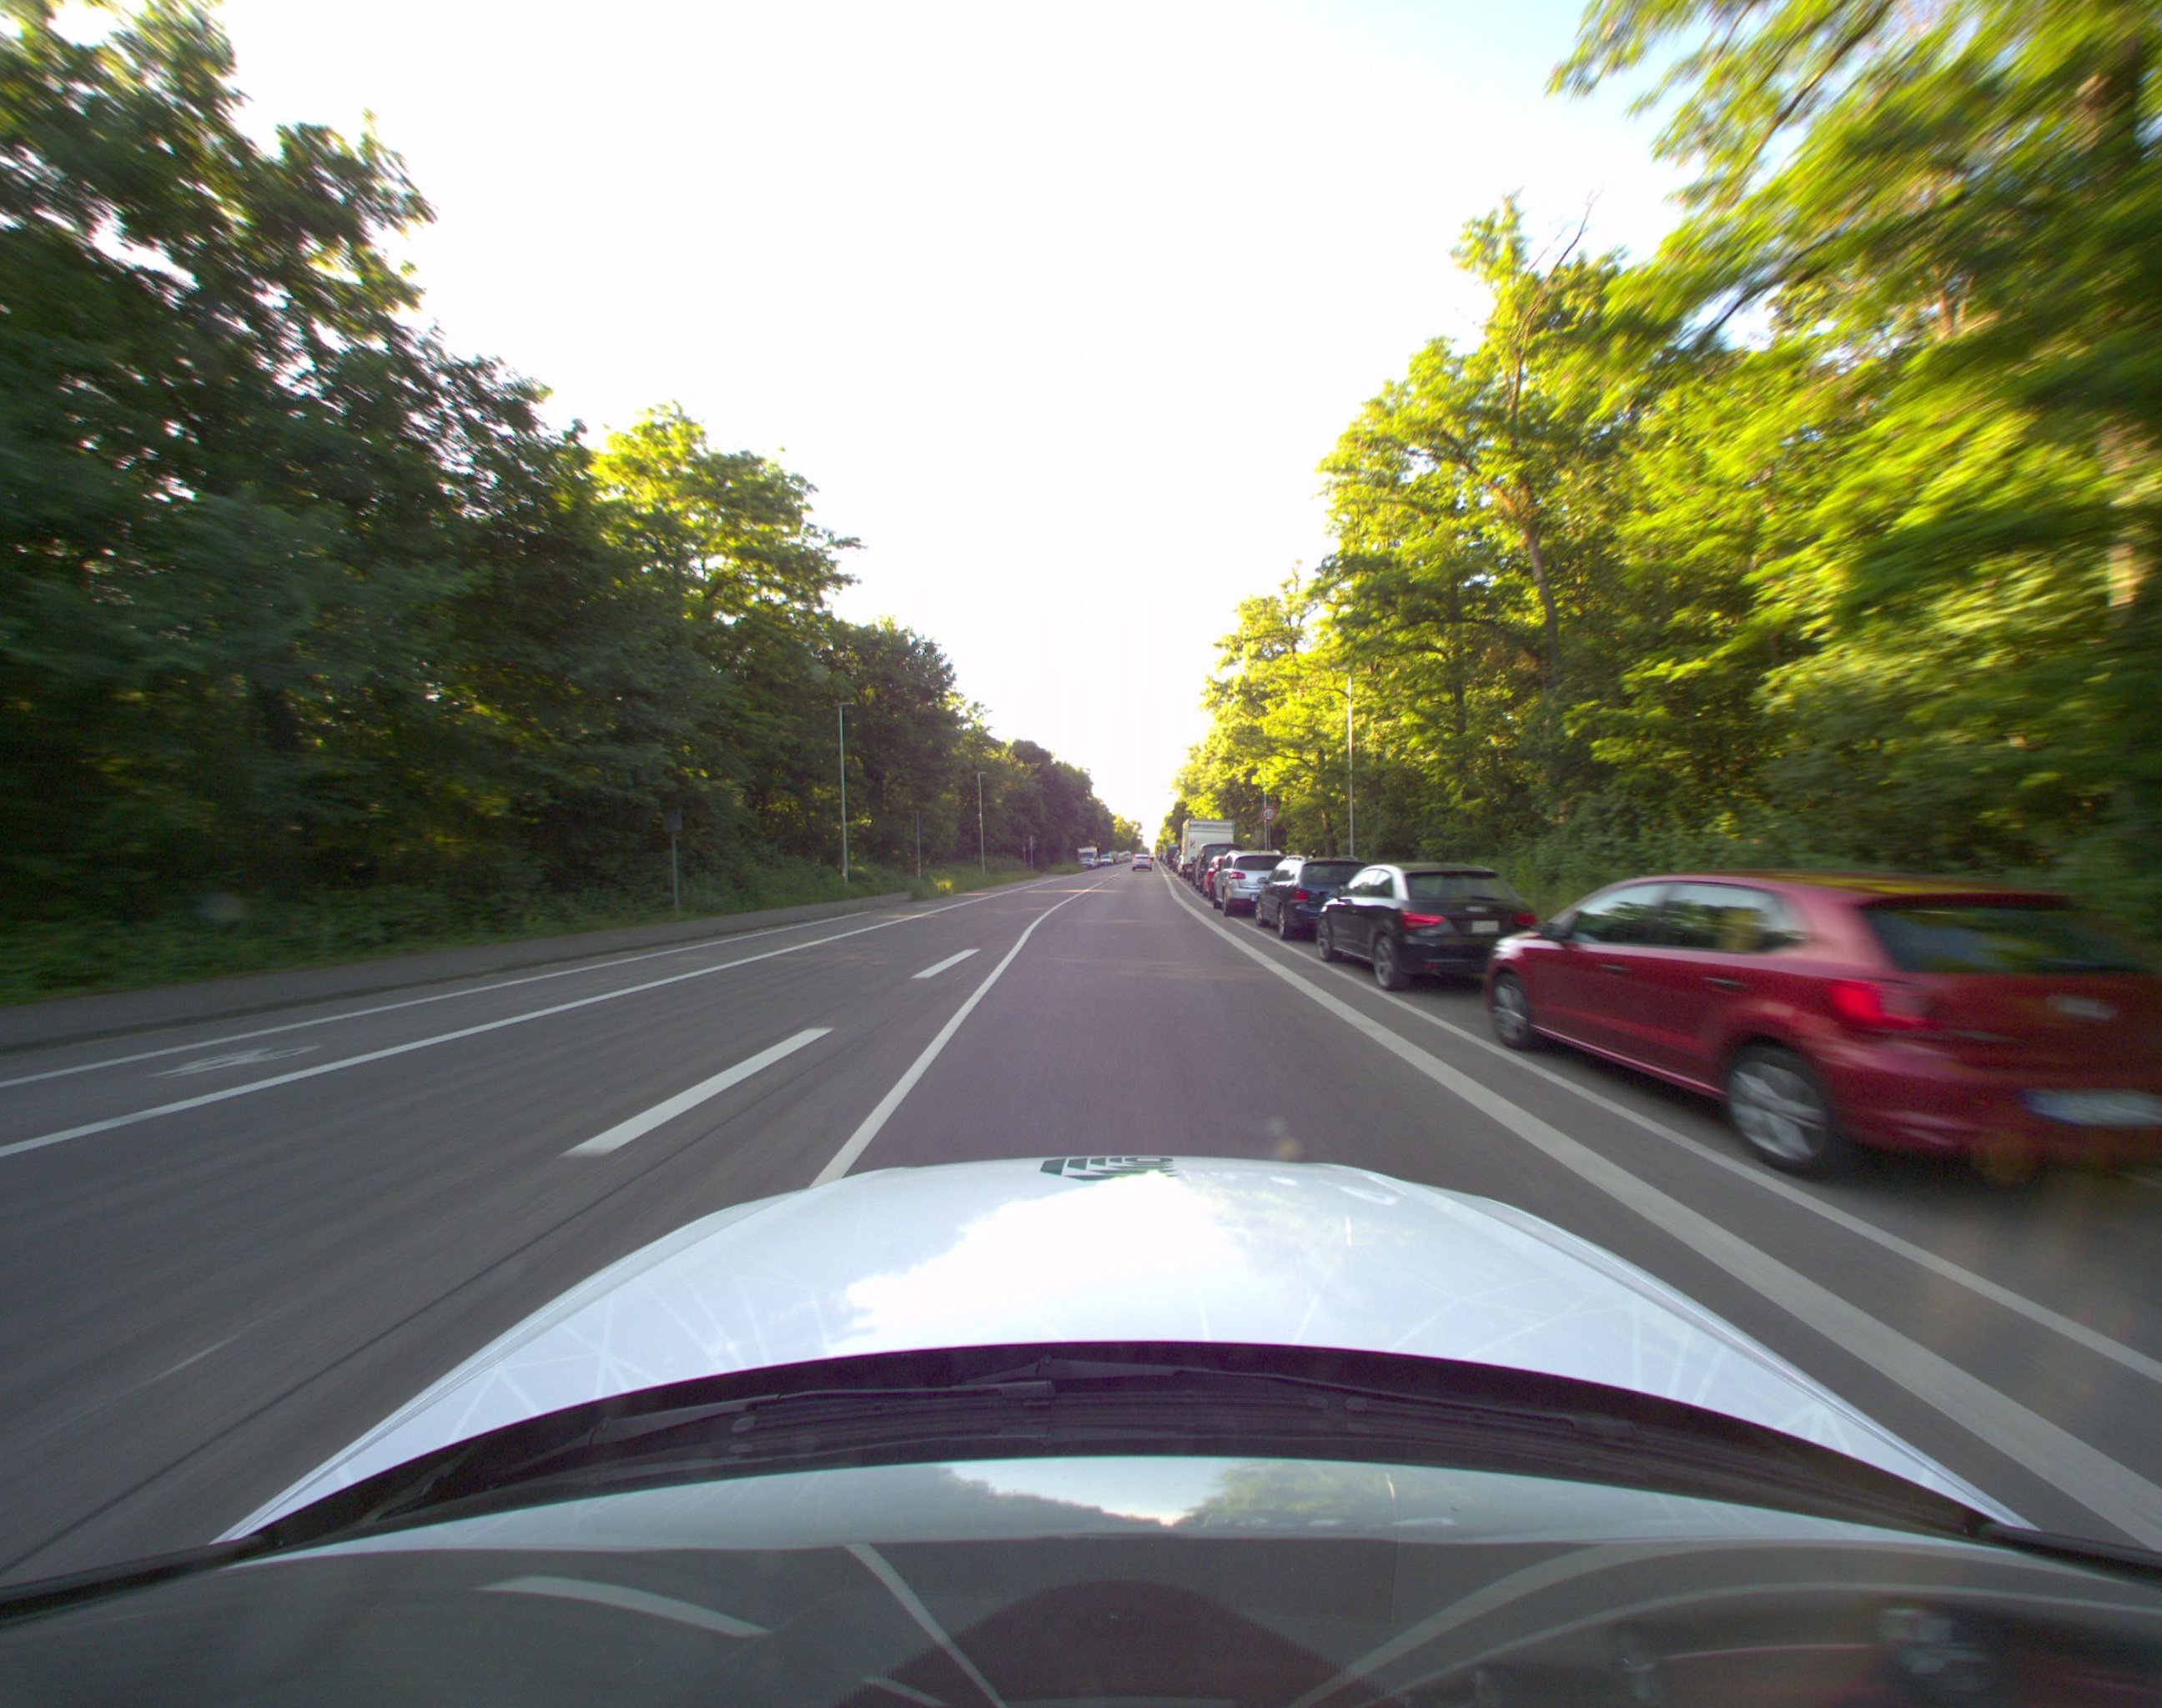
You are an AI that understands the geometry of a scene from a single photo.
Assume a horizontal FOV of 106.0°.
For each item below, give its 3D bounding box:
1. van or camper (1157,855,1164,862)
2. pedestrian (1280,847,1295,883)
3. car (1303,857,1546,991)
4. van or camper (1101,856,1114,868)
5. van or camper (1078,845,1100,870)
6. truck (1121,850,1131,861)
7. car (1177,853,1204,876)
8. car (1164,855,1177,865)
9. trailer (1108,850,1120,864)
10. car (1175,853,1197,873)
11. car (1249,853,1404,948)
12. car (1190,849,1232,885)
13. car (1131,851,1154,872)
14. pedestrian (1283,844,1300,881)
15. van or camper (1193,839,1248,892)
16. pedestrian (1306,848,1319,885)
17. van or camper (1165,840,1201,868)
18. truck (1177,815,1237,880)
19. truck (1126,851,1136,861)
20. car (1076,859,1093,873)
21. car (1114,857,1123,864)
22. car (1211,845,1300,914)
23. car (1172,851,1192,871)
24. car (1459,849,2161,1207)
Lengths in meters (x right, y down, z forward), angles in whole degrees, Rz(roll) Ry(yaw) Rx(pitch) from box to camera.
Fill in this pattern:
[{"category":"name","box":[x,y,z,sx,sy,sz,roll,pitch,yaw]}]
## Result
[{"category":"van or camper","box":[21.672,1.134,222.548,1.984,1.932,5.206,0,0,5]},{"category":"pedestrian","box":[9.444,0.501,37.223,0.561,1.588,0.482,-2,0,4]},{"category":"car","box":[4.137,0.739,10.489,1.589,1.401,3.799,0,0,1]},{"category":"van or camper","box":[4.410,1.359,136.584,1.827,1.911,4.862,-3,0,4]},{"category":"van or camper","box":[1.012,0.411,102.776,2.305,2.970,7.116,-4,0,3]},{"category":"truck","box":[14.608,0.563,264.014,2.694,3.347,10.939,-1,0,5]},{"category":"car","box":[7.709,0.718,57.579,1.704,1.568,4.006,1,0,5]},{"category":"car","box":[14.236,0.970,129.382,1.740,1.515,4.003,-4,0,3]},{"category":"trailer","box":[6.421,0.607,159.571,1.984,2.597,4.422,-4,-1,5]},{"category":"car","box":[8.735,0.744,67.922,1.703,1.568,4.559,1,0,6]},{"category":"car","box":[4.491,0.760,15.606,1.800,1.519,4.507,1,0,3]},{"category":"car","box":[6.431,0.631,40.572,1.790,1.657,4.035,-1,0,5]},{"category":"car","box":[5.817,0.700,76.915,2.019,1.840,4.035,-1,0,5]},{"category":"pedestrian","box":[10.247,0.388,39.713,0.615,1.764,0.908,-2,0,4]},{"category":"van or camper","box":[5.706,0.447,33.754,1.888,2.013,4.594,-1,0,5]},{"category":"pedestrian","box":[10.088,0.541,35.538,0.392,1.588,0.482,-2,0,4]},{"category":"van or camper","box":[10.890,-0.052,86.106,2.421,2.800,6.588,-2,0,18]},{"category":"truck","box":[7.430,-0.362,49.126,2.819,3.497,8.588,-1,0,4]},{"category":"truck","box":[15.425,0.581,252.229,2.694,3.093,8.001,-1,0,5]},{"category":"car","box":[0.455,1.430,95.417,1.820,1.476,4.683,-3,0,2]},{"category":"car","box":[8.618,1.525,185.618,1.723,1.478,4.330,-3,-1,5]},{"category":"car","box":[4.429,0.607,21.196,1.790,1.595,4.035,-1,0,5]},{"category":"car","box":[9.119,0.620,73.471,1.703,1.665,4.559,1,0,6]},{"category":"car","box":[4.118,0.727,5.234,1.611,1.469,3.723,1,0,-1]}]
